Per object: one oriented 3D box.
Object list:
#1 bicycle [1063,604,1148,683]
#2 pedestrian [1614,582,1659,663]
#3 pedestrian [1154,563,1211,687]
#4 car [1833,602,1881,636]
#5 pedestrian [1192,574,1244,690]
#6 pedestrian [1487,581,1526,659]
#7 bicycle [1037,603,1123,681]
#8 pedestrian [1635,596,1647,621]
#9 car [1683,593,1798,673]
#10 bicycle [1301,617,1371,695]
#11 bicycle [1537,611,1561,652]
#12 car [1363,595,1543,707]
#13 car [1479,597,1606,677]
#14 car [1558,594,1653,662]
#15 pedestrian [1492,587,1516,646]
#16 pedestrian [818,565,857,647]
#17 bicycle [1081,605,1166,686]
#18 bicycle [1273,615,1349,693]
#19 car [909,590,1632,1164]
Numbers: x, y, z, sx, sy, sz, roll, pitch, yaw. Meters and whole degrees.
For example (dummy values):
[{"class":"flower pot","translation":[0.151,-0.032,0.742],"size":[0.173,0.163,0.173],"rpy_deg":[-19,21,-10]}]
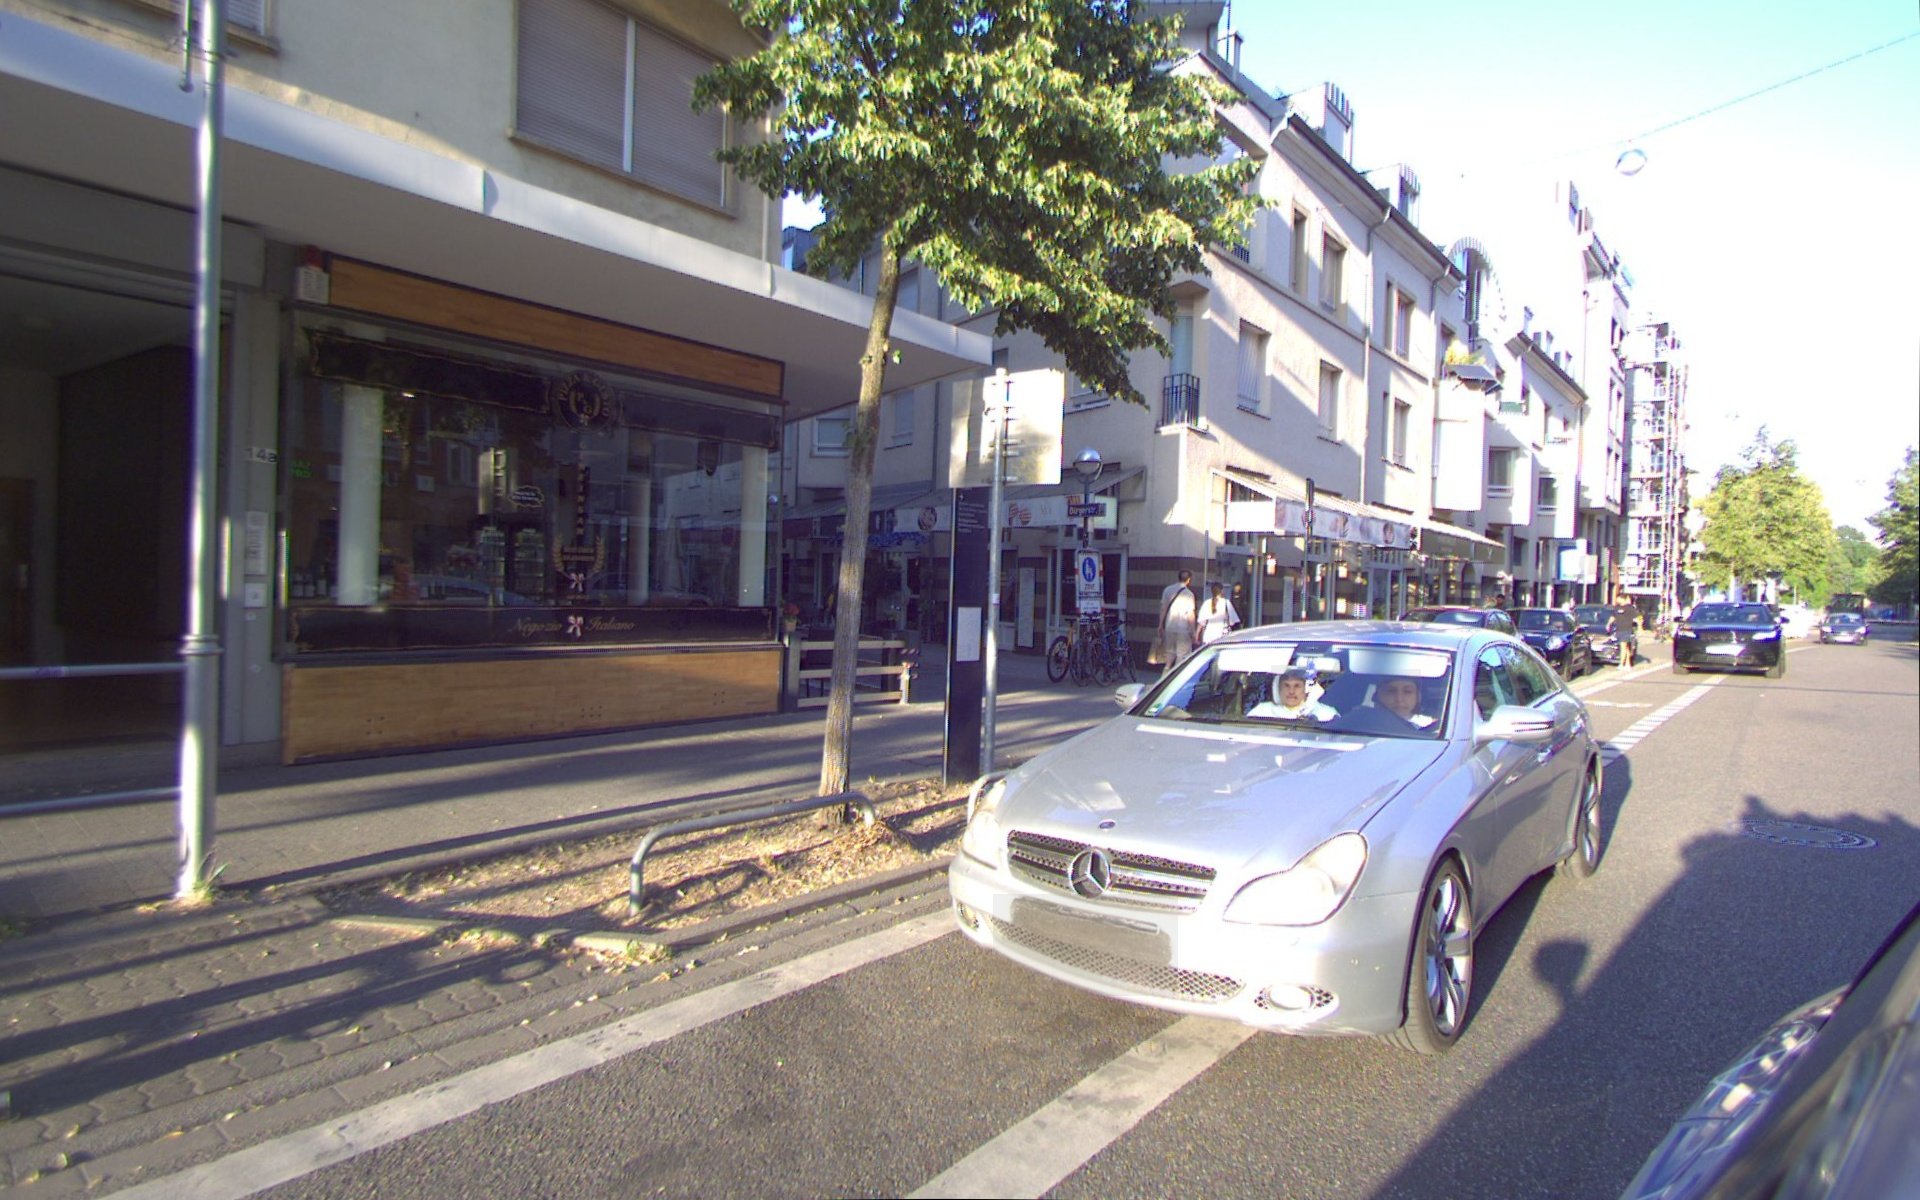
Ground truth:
[{"class":"bicycle","translation":[2.243,0.630,15.408],"size":[0.290,1.118,1.859],"rpy_deg":[2,1,41]},{"class":"pedestrian","translation":[16.302,0.533,24.389],"size":[0.776,1.907,0.660],"rpy_deg":[-2,-2,41]},{"class":"pedestrian","translation":[3.328,0.357,15.143],"size":[0.543,1.779,0.495],"rpy_deg":[5,3,41]},{"class":"car","translation":[42.060,0.857,47.506],"size":[1.616,1.492,3.634],"rpy_deg":[0,0,41]},{"class":"pedestrian","translation":[3.746,0.452,14.698],"size":[0.519,1.612,0.402],"rpy_deg":[5,3,41]},{"class":"pedestrian","translation":[12.870,0.462,23.848],"size":[0.629,1.771,0.660],"rpy_deg":[3,2,41]},{"class":"bicycle","translation":[1.888,0.618,15.720],"size":[0.320,1.118,1.851],"rpy_deg":[2,1,41]},{"class":"pedestrian","translation":[36.272,0.444,53.877],"size":[0.490,1.279,0.415],"rpy_deg":[0,0,42]},{"class":"car","translation":[17.900,0.679,23.141],"size":[1.884,1.656,4.165],"rpy_deg":[0,0,41]},{"class":"bicycle","translation":[5.545,0.800,14.896],"size":[0.314,1.059,1.638],"rpy_deg":[3,2,43]},{"class":"bicycle","translation":[16.337,0.861,28.063],"size":[0.295,1.099,1.441],"rpy_deg":[1,1,41]},{"class":"car","translation":[7.771,0.694,15.777],"size":[1.587,1.451,3.868],"rpy_deg":[4,2,40]},{"class":"car","translation":[12.249,0.712,21.166],"size":[1.615,1.452,3.868],"rpy_deg":[3,2,40]},{"class":"car","translation":[17.104,0.686,26.741],"size":[1.615,1.612,3.868],"rpy_deg":[2,1,40]},{"class":"pedestrian","translation":[16.974,0.521,31.588],"size":[0.574,1.823,0.443],"rpy_deg":[0,0,42]},{"class":"pedestrian","translation":[-2.627,0.120,21.635],"size":[0.688,1.696,0.799],"rpy_deg":[2,2,-13]},{"class":"bicycle","translation":[2.478,0.650,15.188],"size":[0.320,1.118,1.851],"rpy_deg":[2,1,41]},{"class":"bicycle","translation":[5.257,0.781,15.100],"size":[0.314,1.059,1.853],"rpy_deg":[3,2,43]},{"class":"car","translation":[1.934,0.693,4.936],"size":[1.740,1.418,4.572],"rpy_deg":[1,2,40]}]
